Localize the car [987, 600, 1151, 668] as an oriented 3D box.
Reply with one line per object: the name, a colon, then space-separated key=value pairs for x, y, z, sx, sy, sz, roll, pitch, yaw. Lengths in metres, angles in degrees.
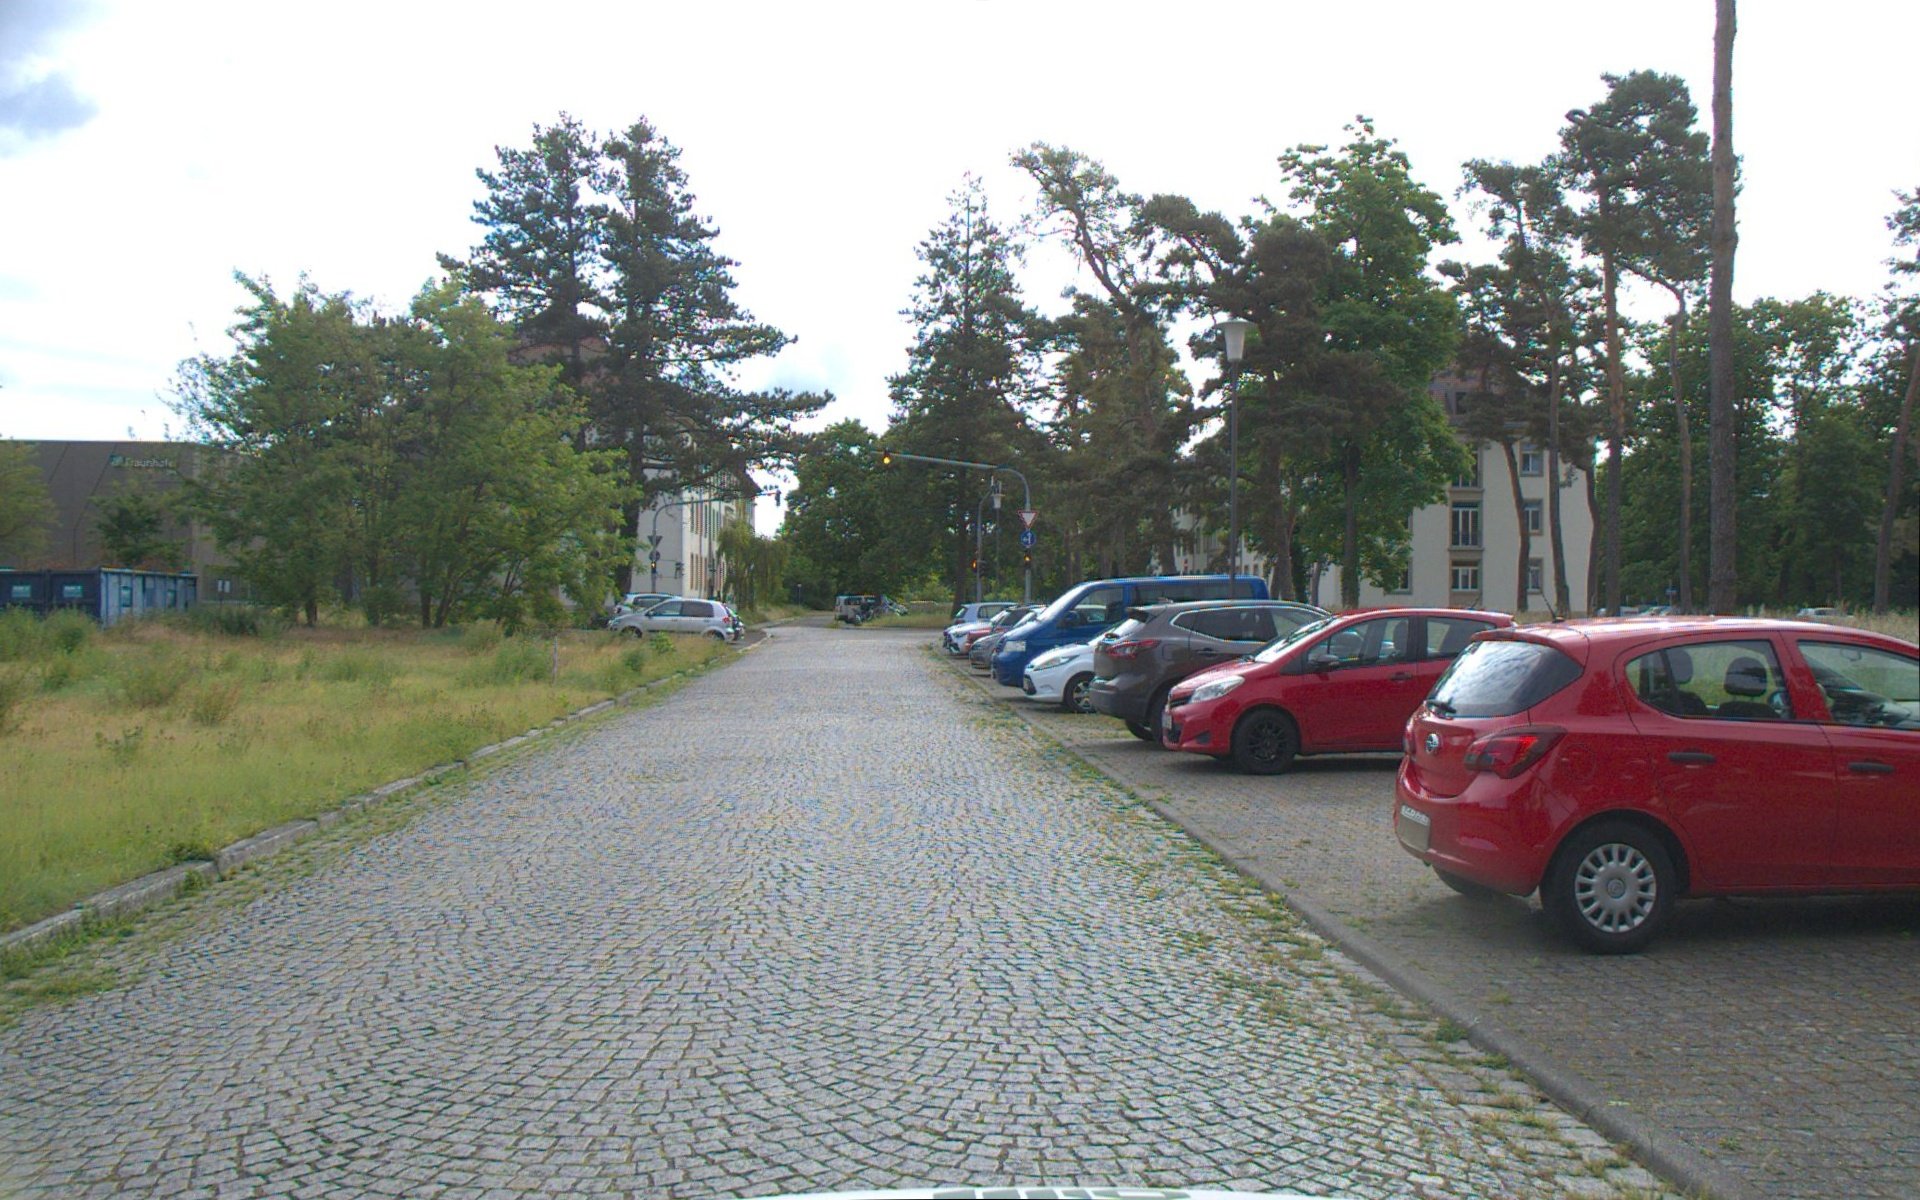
car: x=2.508 y=0.769 z=38.535 sx=3.601 sy=1.475 sz=1.522 roll=-1 pitch=0 yaw=-6

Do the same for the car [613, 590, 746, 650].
car: x=-9.262 y=0.649 z=54.828 sx=4.178 sy=1.873 sz=1.742 roll=-1 pitch=0 yaw=-5

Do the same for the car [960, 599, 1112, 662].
car: x=1.866 y=0.751 z=41.201 sx=3.601 sy=1.475 sz=1.522 roll=-1 pitch=0 yaw=-6

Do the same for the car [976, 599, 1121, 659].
car: x=2.297 y=0.763 z=43.519 sx=3.601 sy=1.475 sz=1.522 roll=-1 pitch=0 yaw=-6

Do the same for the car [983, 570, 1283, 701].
car: x=2.808 y=0.565 z=27.493 sx=4.662 sy=1.989 sz=1.929 roll=-1 pitch=0 yaw=-6

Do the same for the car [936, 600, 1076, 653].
car: x=1.328 y=0.774 z=48.569 sx=3.894 sy=1.446 sz=1.617 roll=-1 pitch=0 yaw=-8

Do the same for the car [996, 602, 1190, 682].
car: x=2.605 y=0.806 z=32.765 sx=3.601 sy=1.475 sz=1.522 roll=-1 pitch=0 yaw=-6

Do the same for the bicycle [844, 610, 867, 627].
bicycle: x=-6.037 y=1.080 z=95.643 sx=0.614 sy=0.961 sz=1.645 roll=1 pitch=0 yaw=-31

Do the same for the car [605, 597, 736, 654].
car: x=-8.616 y=0.764 z=49.459 sx=3.749 sy=1.600 sz=1.562 roll=-1 pitch=0 yaw=-7

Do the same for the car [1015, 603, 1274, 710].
car: x=2.733 y=0.816 z=24.889 sx=3.601 sy=1.475 sz=1.612 roll=-1 pitch=0 yaw=-6

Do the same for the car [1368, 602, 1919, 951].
car: x=4.182 y=0.776 z=8.345 sx=3.751 sy=1.486 sz=1.777 roll=-1 pitch=0 yaw=-5

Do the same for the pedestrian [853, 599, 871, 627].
pedestrian: x=-5.902 y=0.774 z=99.713 sx=1.015 sy=1.642 sz=0.755 roll=1 pitch=-1 yaw=-10

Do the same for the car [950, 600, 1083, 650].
car: x=1.717 y=0.763 z=51.251 sx=3.894 sy=1.446 sz=1.617 roll=-1 pitch=0 yaw=-8

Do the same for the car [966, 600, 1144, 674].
car: x=2.013 y=0.777 z=35.507 sx=3.601 sy=1.475 sz=1.522 roll=-1 pitch=0 yaw=-6

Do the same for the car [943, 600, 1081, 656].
car: x=1.426 y=0.763 z=45.715 sx=3.603 sy=1.446 sz=1.521 roll=-1 pitch=0 yaw=-8

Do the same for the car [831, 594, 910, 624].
car: x=-6.384 y=0.625 z=117.637 sx=5.351 sy=2.049 sz=2.261 roll=1 pitch=0 yaw=-13

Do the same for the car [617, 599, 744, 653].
car: x=-8.729 y=0.809 z=51.871 sx=3.746 sy=1.600 sz=1.563 roll=-1 pitch=0 yaw=-5

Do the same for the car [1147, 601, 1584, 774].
car: x=3.803 y=0.793 z=15.921 sx=3.717 sy=1.486 sz=1.750 roll=-1 pitch=0 yaw=-4

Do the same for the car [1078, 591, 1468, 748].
car: x=3.437 y=0.737 z=18.551 sx=3.951 sy=1.580 sz=1.748 roll=-1 pitch=0 yaw=-6

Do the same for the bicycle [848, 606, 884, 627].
bicycle: x=-5.675 y=0.999 z=99.386 sx=2.098 sy=1.236 sz=0.620 roll=1 pitch=-1 yaw=-10
